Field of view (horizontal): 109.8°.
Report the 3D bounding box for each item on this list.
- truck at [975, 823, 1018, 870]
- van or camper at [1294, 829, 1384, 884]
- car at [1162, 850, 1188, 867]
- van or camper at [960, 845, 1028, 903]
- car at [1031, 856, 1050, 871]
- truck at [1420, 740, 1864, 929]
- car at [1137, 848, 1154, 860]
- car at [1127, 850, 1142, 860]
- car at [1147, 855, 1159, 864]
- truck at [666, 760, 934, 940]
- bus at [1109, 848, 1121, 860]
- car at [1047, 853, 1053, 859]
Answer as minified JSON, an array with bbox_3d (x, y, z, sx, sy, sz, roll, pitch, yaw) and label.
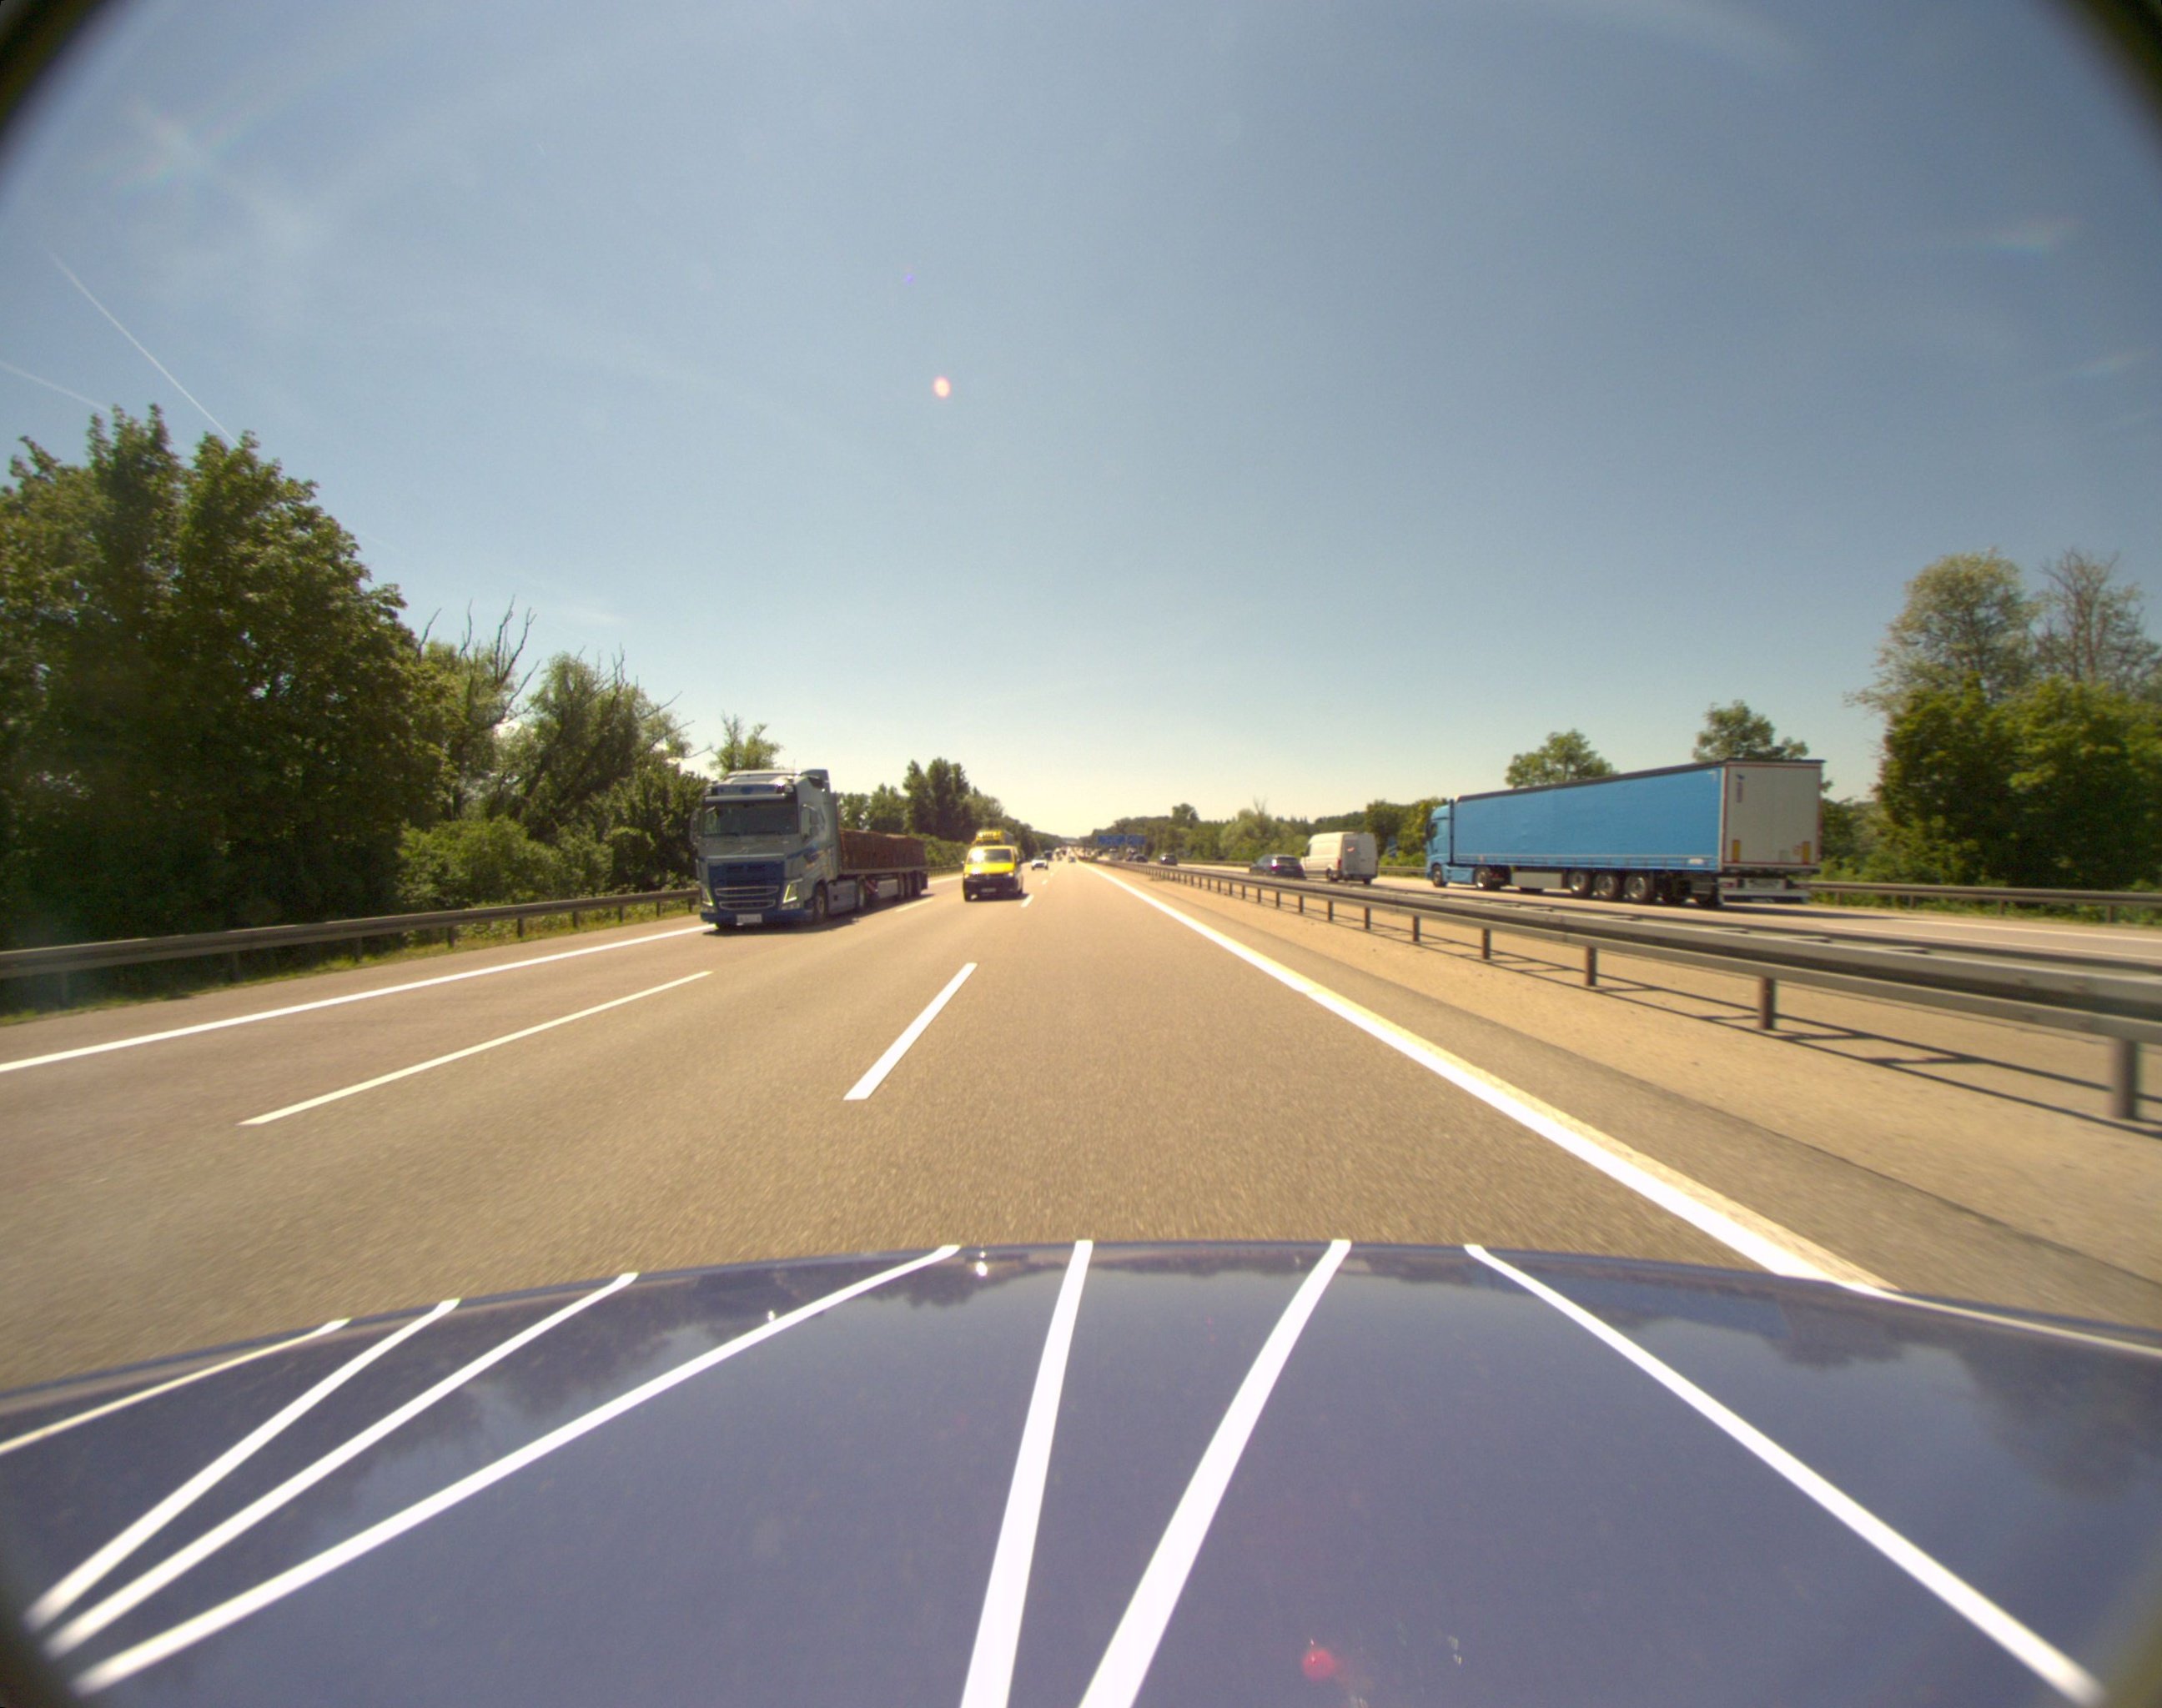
[{"bbox_3d":[-8.541,-0.780,78.584,2.852,4.233,16.786,-1,1,-1],"label":"truck"},{"bbox_3d":[13.143,0.104,39.273,1.999,2.551,7.033,1,0,-2],"label":"van or camper"},{"bbox_3d":[9.621,0.421,77.873,1.999,1.680,4.407,0,0,-1],"label":"car"},{"bbox_3d":[-3.141,0.672,28.474,1.999,1.898,4.970,-2,0,-1],"label":"van or camper"},{"bbox_3d":[-4.562,1.013,85.834,1.845,1.565,3.999,-2,1,0],"label":"car"},{"bbox_3d":[17.982,-0.535,27.682,3.234,4.693,16.855,1,0,-1],"label":"truck"},{"bbox_3d":[9.256,0.003,109.320,1.999,1.680,4.407,-1,0,-1],"label":"car"},{"bbox_3d":[9.201,0.131,130.865,1.999,1.595,4.599,-4,0,-1],"label":"car"},{"bbox_3d":[16.790,1.297,177.796,1.999,1.861,4.580,2,0,-2],"label":"car"},{"bbox_3d":[-7.890,-0.174,25.353,2.977,3.934,16.608,-2,1,-1],"label":"truck"},{"bbox_3d":[10.797,-0.060,241.988,2.701,3.563,12.791,1,0,-1],"label":"bus"},{"bbox_3d":[-10.645,0.727,262.499,1.999,2.002,3.999,-1,0,-2],"label":"car"}]
